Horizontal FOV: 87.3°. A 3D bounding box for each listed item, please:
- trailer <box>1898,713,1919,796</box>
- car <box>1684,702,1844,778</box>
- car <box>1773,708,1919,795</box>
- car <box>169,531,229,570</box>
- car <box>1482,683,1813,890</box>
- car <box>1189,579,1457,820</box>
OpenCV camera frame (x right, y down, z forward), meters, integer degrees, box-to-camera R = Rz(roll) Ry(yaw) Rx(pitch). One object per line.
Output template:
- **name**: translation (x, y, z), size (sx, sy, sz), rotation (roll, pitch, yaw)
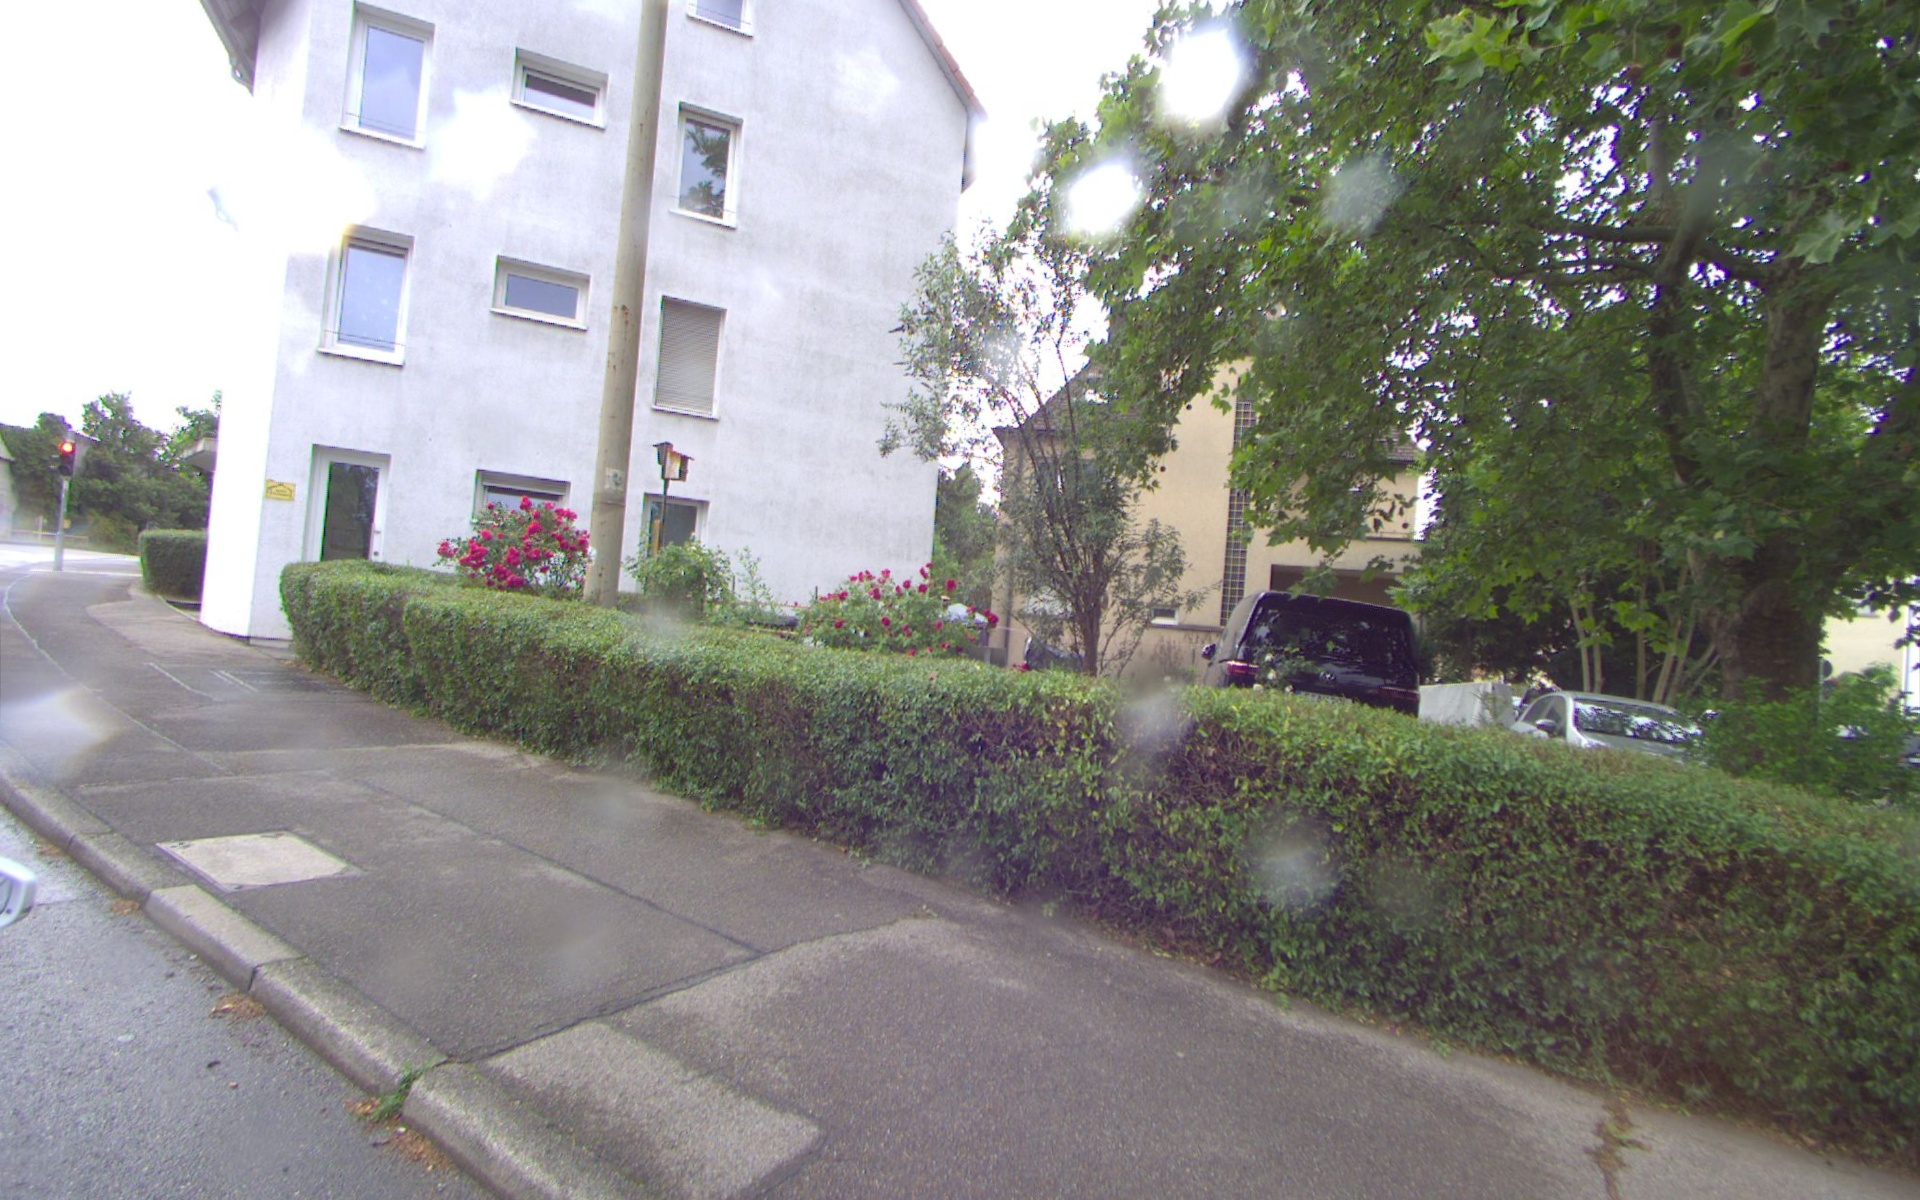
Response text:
- **trailer**: translation (24.728, 3.913, 23.966), size (1.640, 2.037, 3.494), rotation (6, -1, 8)
- **car**: translation (26.356, 4.539, 33.225), size (1.962, 1.861, 4.584), rotation (6, -1, 9)
- **car**: translation (25.272, 4.200, 27.980), size (1.962, 1.861, 4.584), rotation (6, -1, 9)
- **car**: translation (-37.016, -2.371, 48.995), size (1.981, 1.536, 3.966), rotation (7, -2, -34)
- **car**: translation (7.393, 1.875, 11.338), size (1.788, 1.599, 4.003), rotation (6, -2, 16)
- **car**: translation (3.765, 0.987, 11.295), size (1.962, 1.955, 4.419), rotation (6, -1, 11)
